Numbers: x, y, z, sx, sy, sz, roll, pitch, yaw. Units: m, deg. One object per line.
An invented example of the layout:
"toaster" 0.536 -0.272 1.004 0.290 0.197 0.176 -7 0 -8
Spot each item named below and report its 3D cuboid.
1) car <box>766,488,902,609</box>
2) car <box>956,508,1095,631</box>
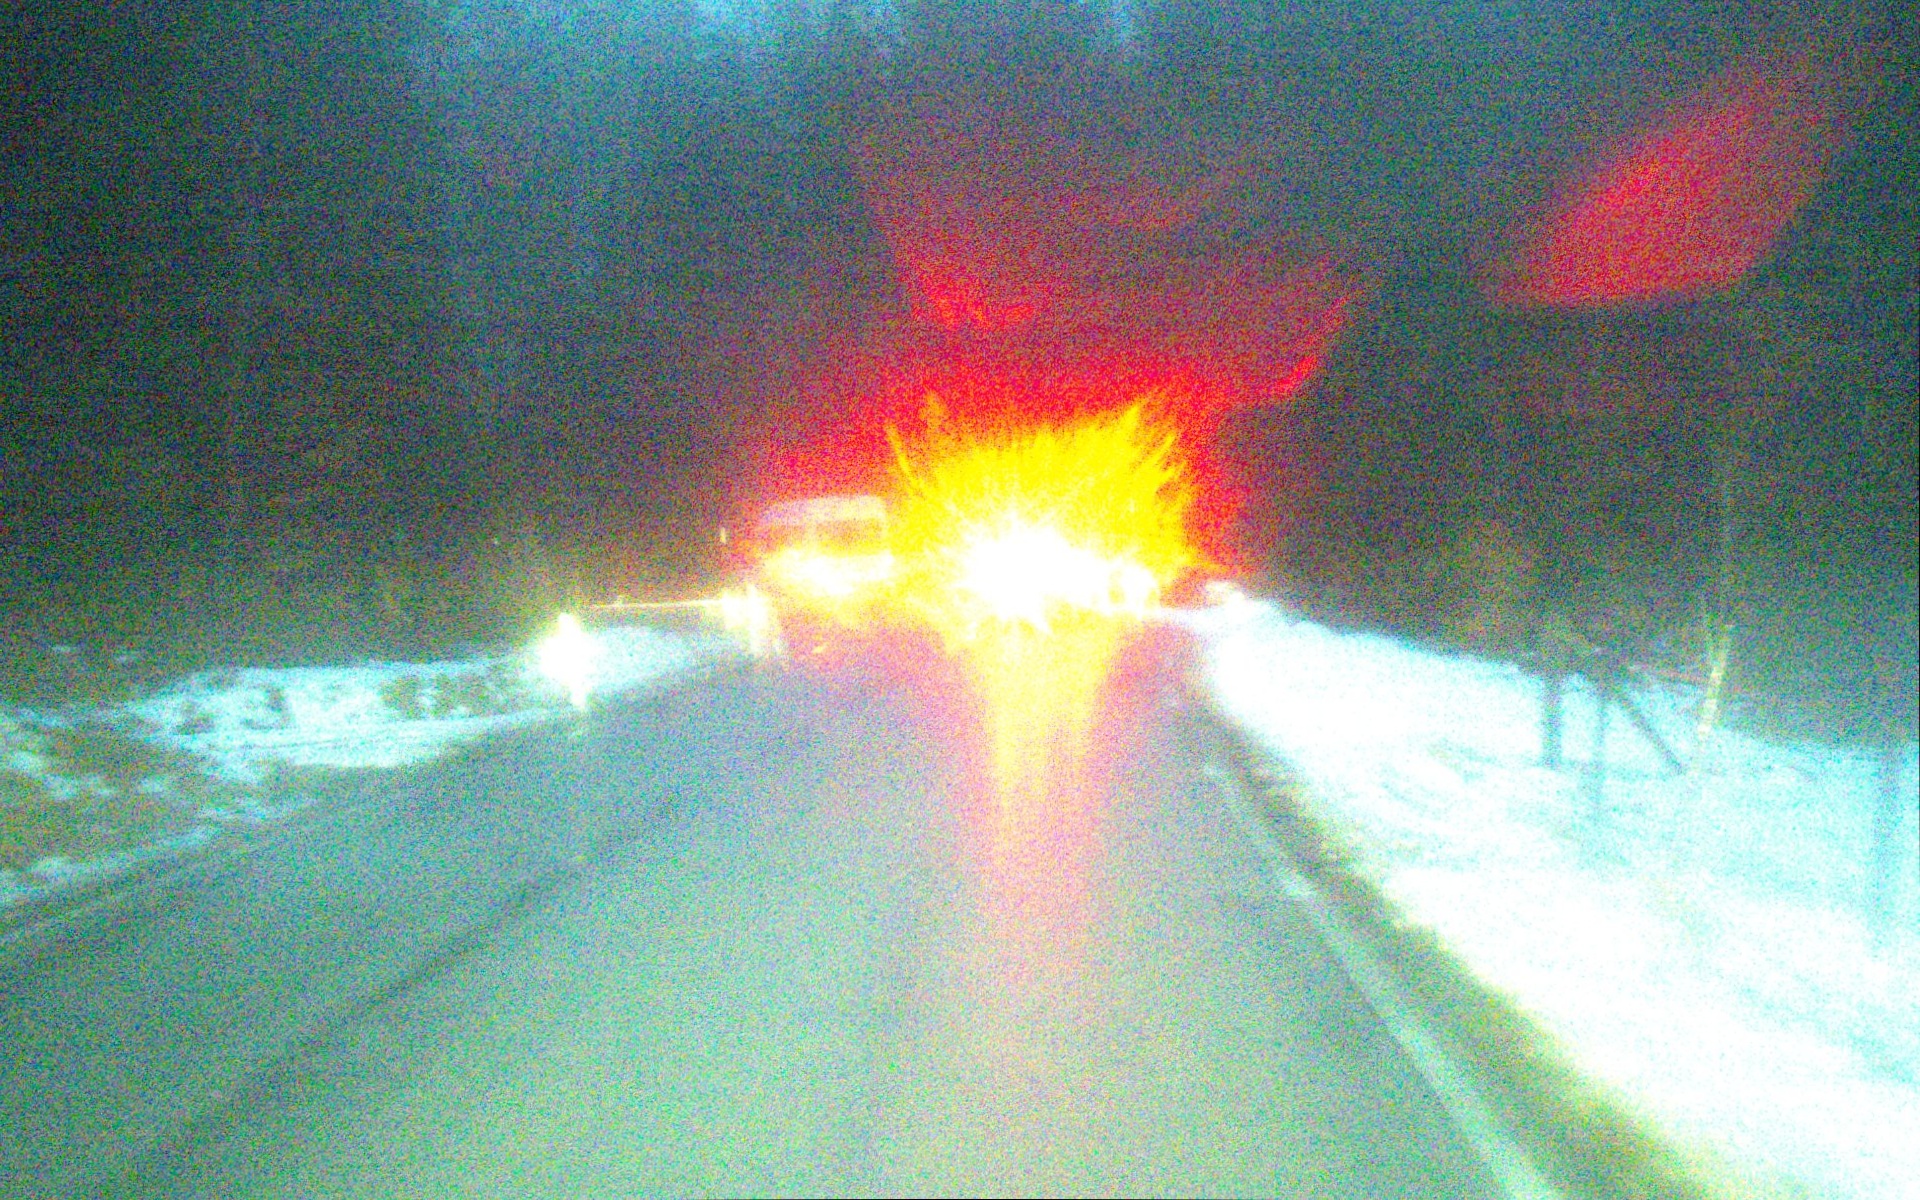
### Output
"car" -2.956 -1.196 79.188 2.252 2.636 5.008 -2 1 -12
"car" 1.119 -0.564 60.533 1.993 2.045 4.001 1 1 -5
